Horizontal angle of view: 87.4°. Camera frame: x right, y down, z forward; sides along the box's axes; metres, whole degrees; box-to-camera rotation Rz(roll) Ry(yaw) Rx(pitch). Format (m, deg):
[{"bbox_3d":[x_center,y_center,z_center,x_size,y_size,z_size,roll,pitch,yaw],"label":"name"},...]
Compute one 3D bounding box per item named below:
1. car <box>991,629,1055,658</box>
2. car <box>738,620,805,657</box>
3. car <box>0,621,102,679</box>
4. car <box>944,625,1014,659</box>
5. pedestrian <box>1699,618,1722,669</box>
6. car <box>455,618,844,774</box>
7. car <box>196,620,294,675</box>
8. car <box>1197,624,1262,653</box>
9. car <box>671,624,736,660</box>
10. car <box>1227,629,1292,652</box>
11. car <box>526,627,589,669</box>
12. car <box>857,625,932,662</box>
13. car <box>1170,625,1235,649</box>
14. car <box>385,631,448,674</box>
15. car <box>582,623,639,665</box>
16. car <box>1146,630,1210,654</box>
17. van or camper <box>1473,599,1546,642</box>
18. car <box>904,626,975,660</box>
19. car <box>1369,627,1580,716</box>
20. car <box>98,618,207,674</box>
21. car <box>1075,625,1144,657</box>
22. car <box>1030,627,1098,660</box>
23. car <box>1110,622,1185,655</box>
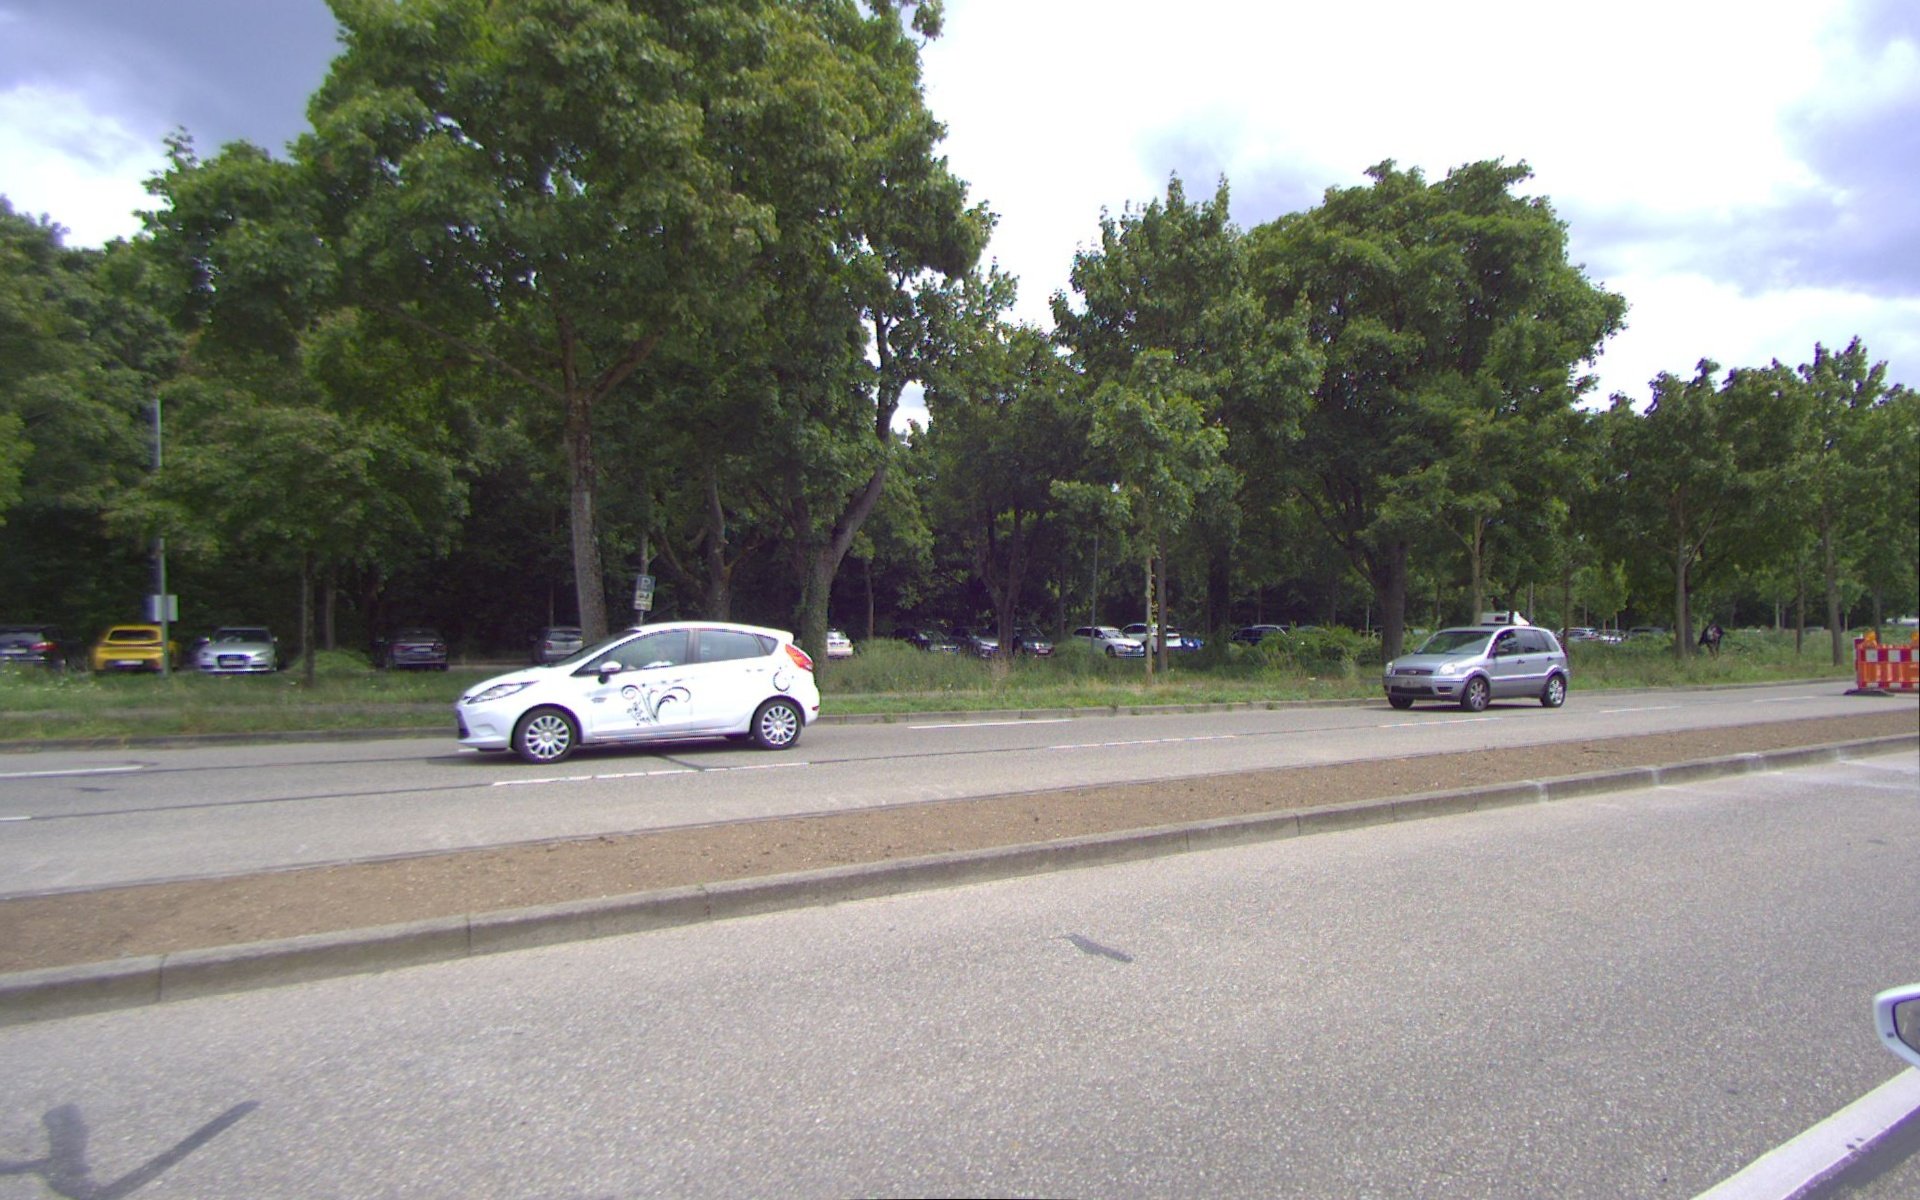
[{"bbox_3d":[2.843,1.969,46.203,1.498,1.223,3.282,0,-1,-27],"label":"car"},{"bbox_3d":[-7.658,1.526,40.585,1.645,1.378,3.972,0,-1,-27],"label":"car"},{"bbox_3d":[-26.162,1.363,28.595,1.762,1.518,3.972,0,-1,-27],"label":"car"},{"bbox_3d":[0.817,1.849,45.183,1.686,1.378,3.632,0,-1,-27],"label":"car"},{"bbox_3d":[28.024,1.608,37.517,0.682,1.863,0.648,0,0,39],"label":"pedestrian"},{"bbox_3d":[-3.468,0.960,11.386,3.954,1.496,1.682,1,-2,-31],"label":"car"},{"bbox_3d":[-21.864,1.407,30.863,1.861,1.518,4.164,0,-1,-27],"label":"car"},{"bbox_3d":[14.245,2.020,53.279,1.305,1.430,3.537,0,-1,-27],"label":"car"},{"bbox_3d":[-9.959,1.589,38.806,1.645,1.254,3.974,0,-1,-26],"label":"car"},{"bbox_3d":[15.972,2.149,53.744,1.423,1.108,3.353,0,-1,-28],"label":"car"},{"bbox_3d":[-14.580,1.690,36.252,1.762,1.367,3.695,0,-1,-27],"label":"car"},{"bbox_3d":[-2.855,1.816,43.055,1.973,1.429,3.976,0,-1,-24],"label":"car"},{"bbox_3d":[12.499,1.906,51.962,1.423,1.144,3.353,0,-1,-28],"label":"car"},{"bbox_3d":[-17.967,1.694,33.305,1.762,1.274,3.695,0,-1,-27],"label":"car"},{"bbox_3d":[-12.909,1.591,37.012,1.498,1.430,3.636,0,-1,-27],"label":"car"},{"bbox_3d":[11.248,2.144,51.968,1.423,1.127,3.353,0,-1,-28],"label":"car"},{"bbox_3d":[36.907,1.351,67.537,1.904,2.793,3.969,0,-1,-29],"label":"van or camper"},{"bbox_3d":[-0.941,1.850,43.915,1.686,1.378,3.632,0,-1,-27],"label":"car"},{"bbox_3d":[9.677,1.262,18.831,3.954,1.496,1.695,1,-2,-31],"label":"car"},{"bbox_3d":[-24.031,1.318,30.039,1.762,1.518,3.972,0,-1,-27],"label":"car"},{"bbox_3d":[7.252,1.962,48.924,1.498,1.430,3.636,0,-1,-27],"label":"car"},{"bbox_3d":[4.882,2.026,47.691,1.498,1.430,3.636,0,-1,-27],"label":"car"},{"bbox_3d":[9.370,1.913,50.438,1.858,1.539,3.636,0,-1,-27],"label":"car"}]
